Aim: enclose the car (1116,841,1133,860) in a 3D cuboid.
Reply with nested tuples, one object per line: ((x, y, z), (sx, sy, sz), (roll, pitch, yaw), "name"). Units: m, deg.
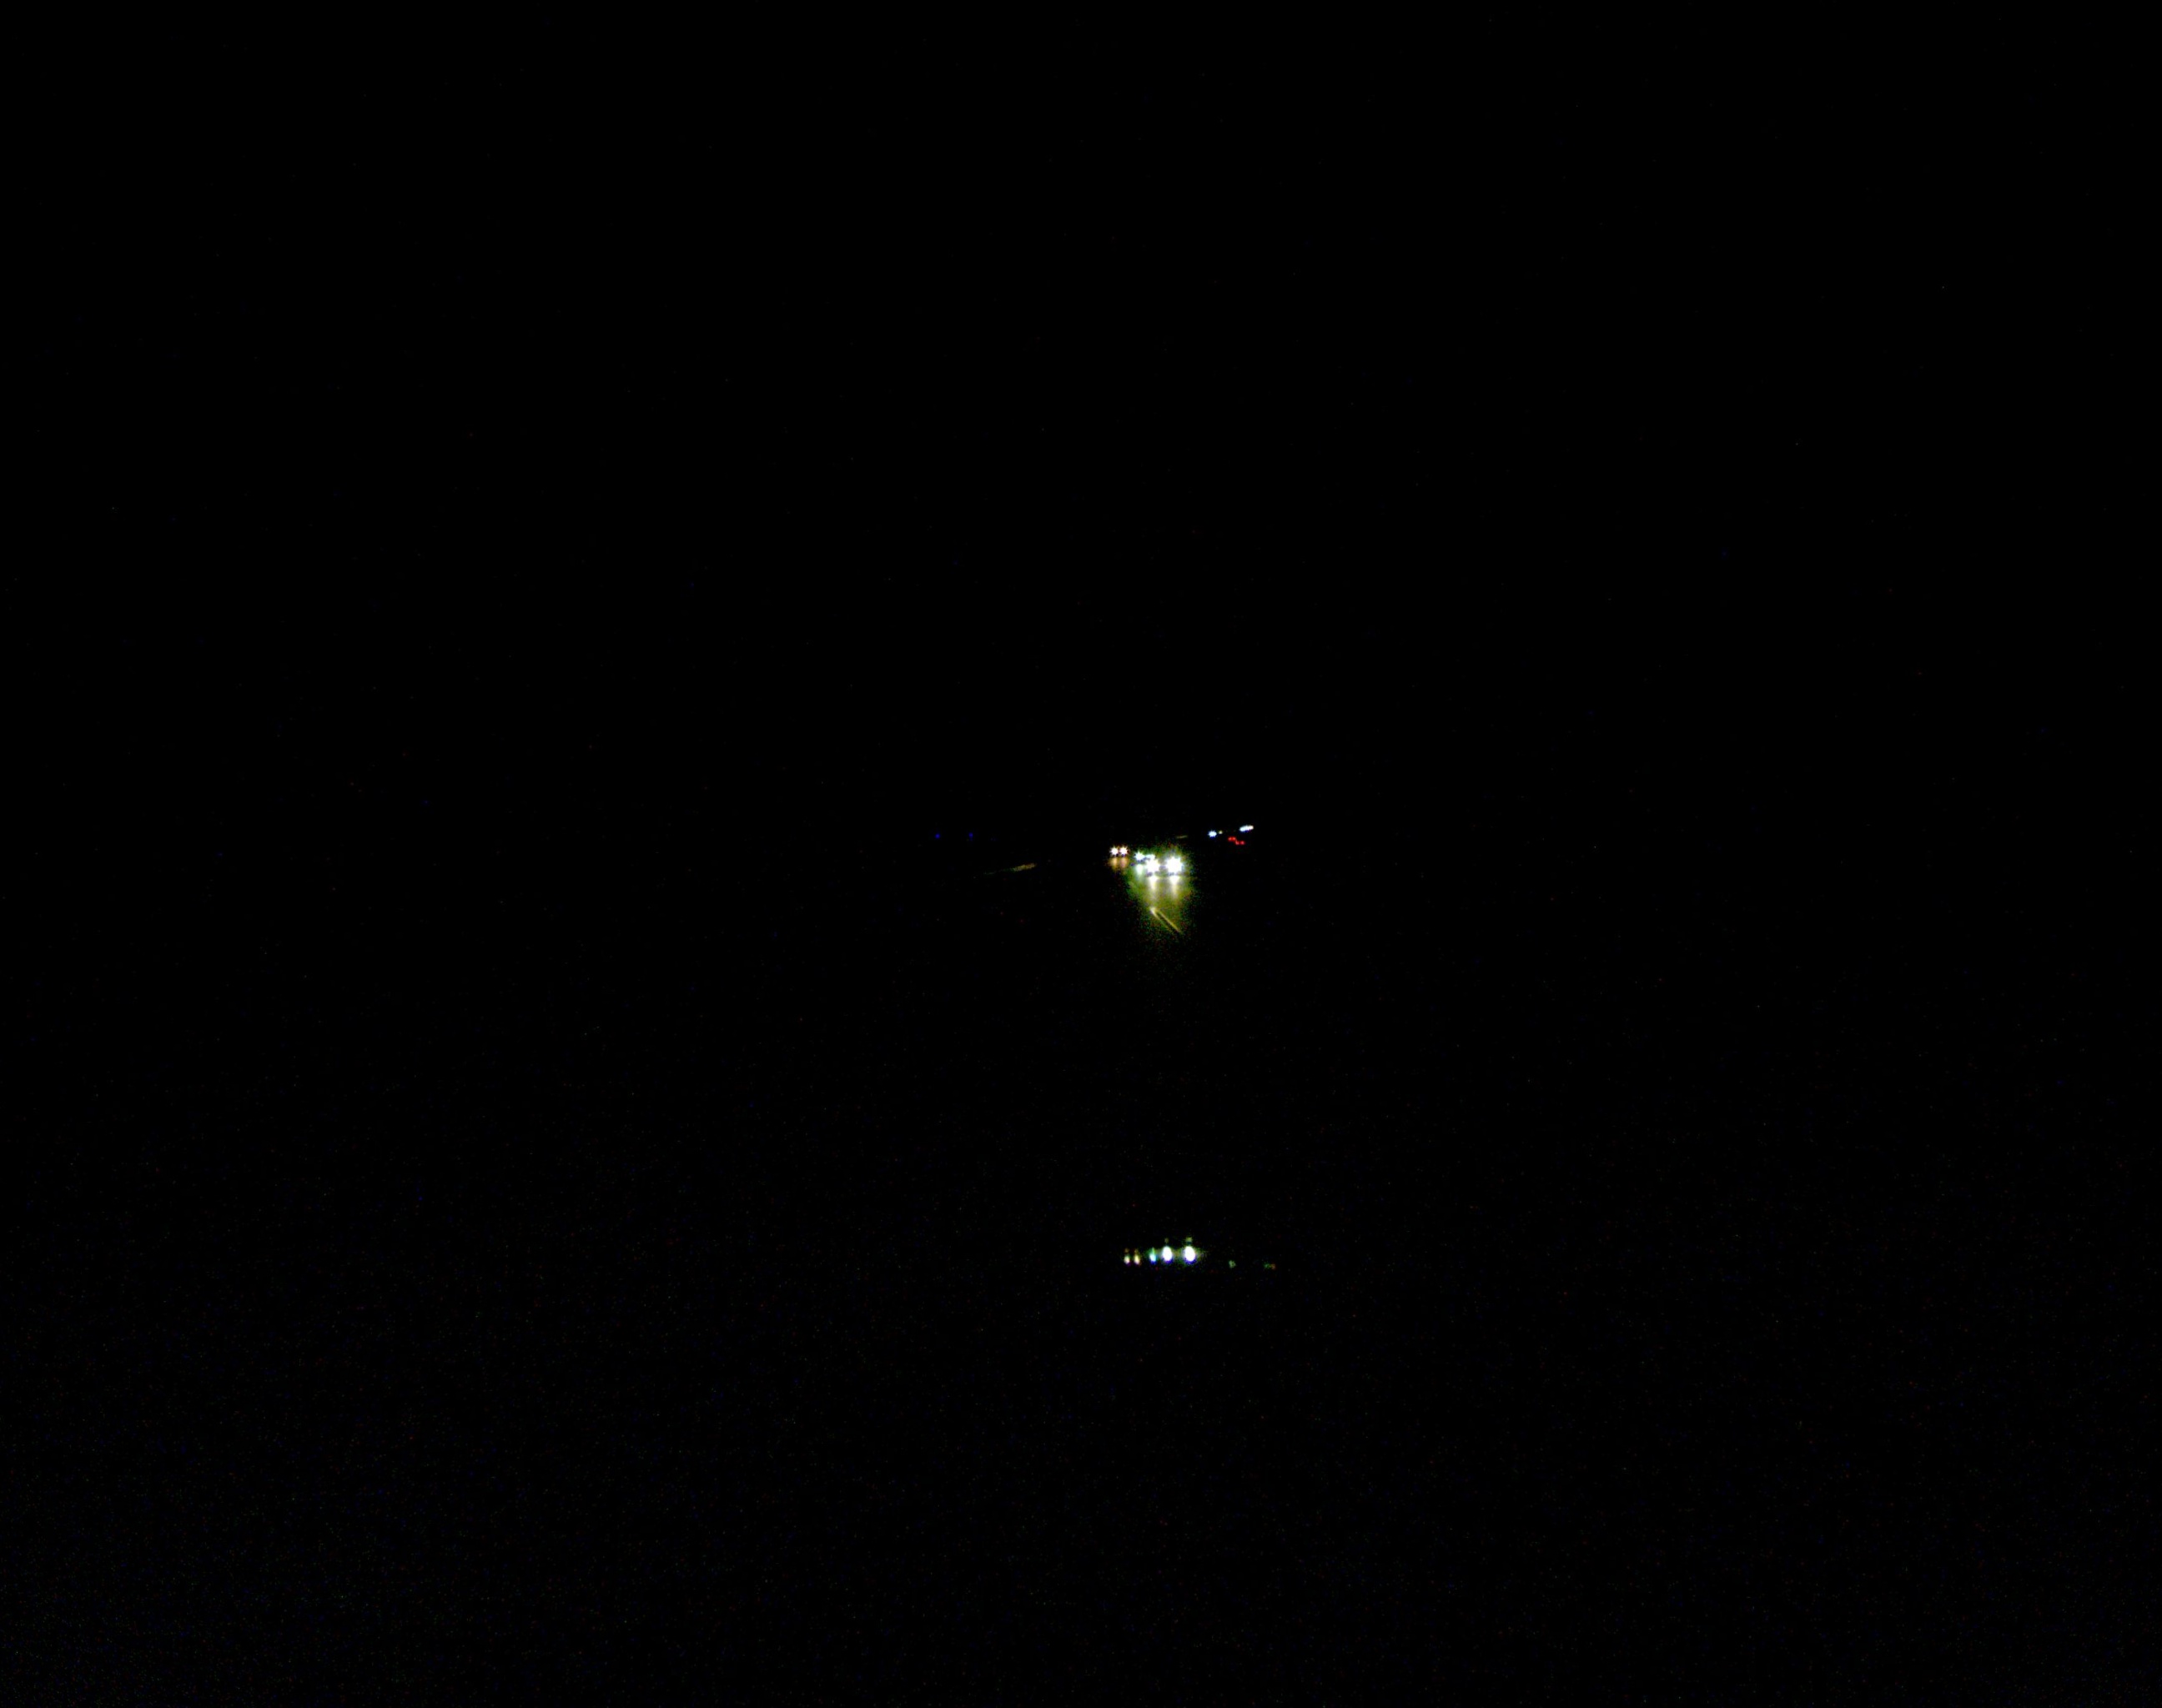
((7.288, -0.560, 126.396), (2.533, 2.889, 6.228), (-3, 2, 6), "car")

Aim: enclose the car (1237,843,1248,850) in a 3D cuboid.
((37.473, -1.779, 176.787), (1.998, 1.499, 4.001), (-2, 1, 4), "car")

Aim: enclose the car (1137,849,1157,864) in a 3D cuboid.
((7.265, 0.222, 83.515), (1.998, 1.456, 4.000), (-3, 2, 6), "car")

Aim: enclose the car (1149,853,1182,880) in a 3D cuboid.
((5.236, 0.733, 46.920), (1.832, 1.404, 4.001), (-3, 2, 7), "car")

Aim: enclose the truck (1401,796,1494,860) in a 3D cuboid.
((25.470, -1.736, 53.187), (3.598, 4.075, 5.994), (-2, 0, 1), "truck")

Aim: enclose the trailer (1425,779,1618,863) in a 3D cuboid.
((25.200, -1.665, 45.003), (3.607, 4.066, 14.125), (-2, 0, 2), "trailer")

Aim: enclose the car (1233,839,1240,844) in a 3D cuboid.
((53.519, -4.294, 261.897), (1.998, 1.499, 4.316), (-2, 1, 4), "car")
